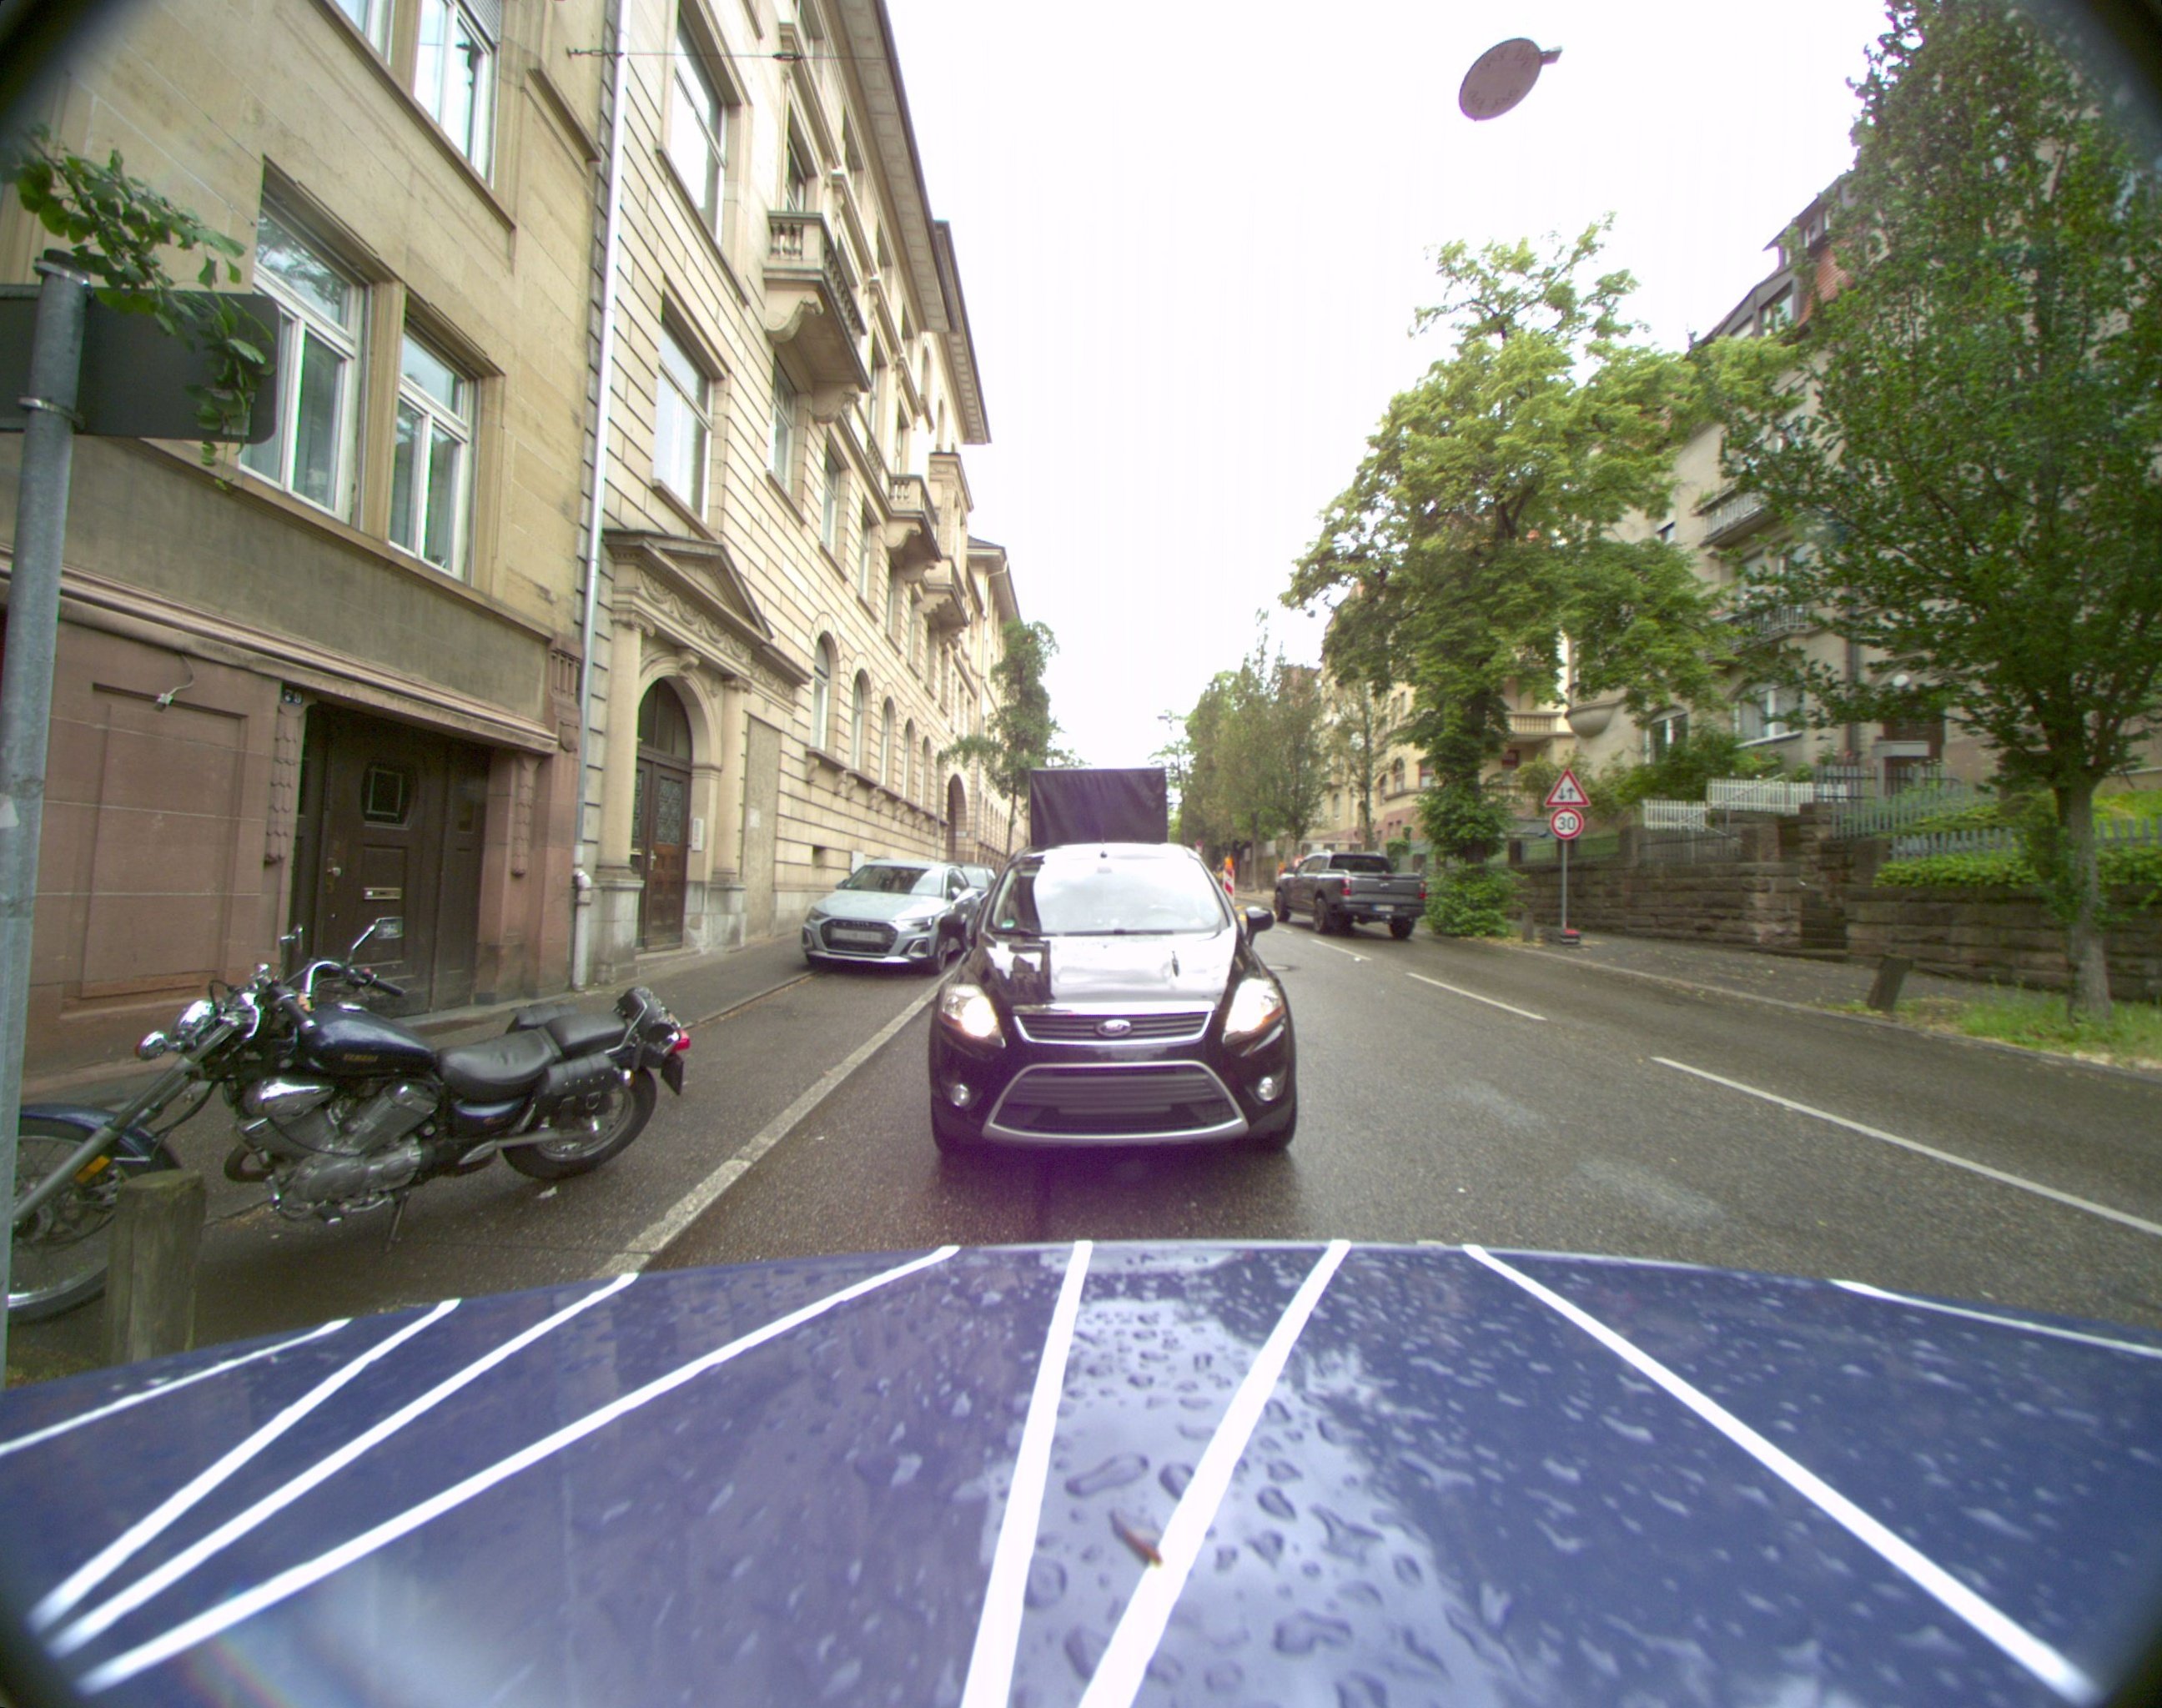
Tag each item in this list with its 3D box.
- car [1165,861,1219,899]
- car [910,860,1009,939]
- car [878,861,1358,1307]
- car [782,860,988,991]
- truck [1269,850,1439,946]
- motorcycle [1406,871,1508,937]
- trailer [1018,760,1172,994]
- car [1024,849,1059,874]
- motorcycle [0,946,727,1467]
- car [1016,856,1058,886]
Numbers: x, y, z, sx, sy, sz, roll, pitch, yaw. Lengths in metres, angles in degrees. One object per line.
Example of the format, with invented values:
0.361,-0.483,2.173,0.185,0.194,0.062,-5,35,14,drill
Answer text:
4.736,1.083,32.820,1.670,1.463,3.656,3,0,-1,car
-2.530,0.899,16.464,1.495,1.440,3.181,3,0,1,car
0.195,0.895,5.153,1.823,1.662,4.522,0,0,1,car
-2.598,0.876,11.096,1.794,1.444,4.039,3,0,1,car
6.047,0.895,17.627,2.075,1.825,5.154,2,0,1,truck
8.895,1.129,18.188,0.802,1.406,3.061,-2,0,-2,motorcycle
0.166,0.256,11.315,1.783,2.744,4.816,0,1,0,trailer
-2.569,0.484,50.685,1.910,1.502,4.318,3,0,1,car
-2.559,1.018,2.701,0.523,1.236,2.282,3,-1,39,motorcycle
-2.394,0.901,42.451,1.910,1.502,4.318,3,0,1,car
